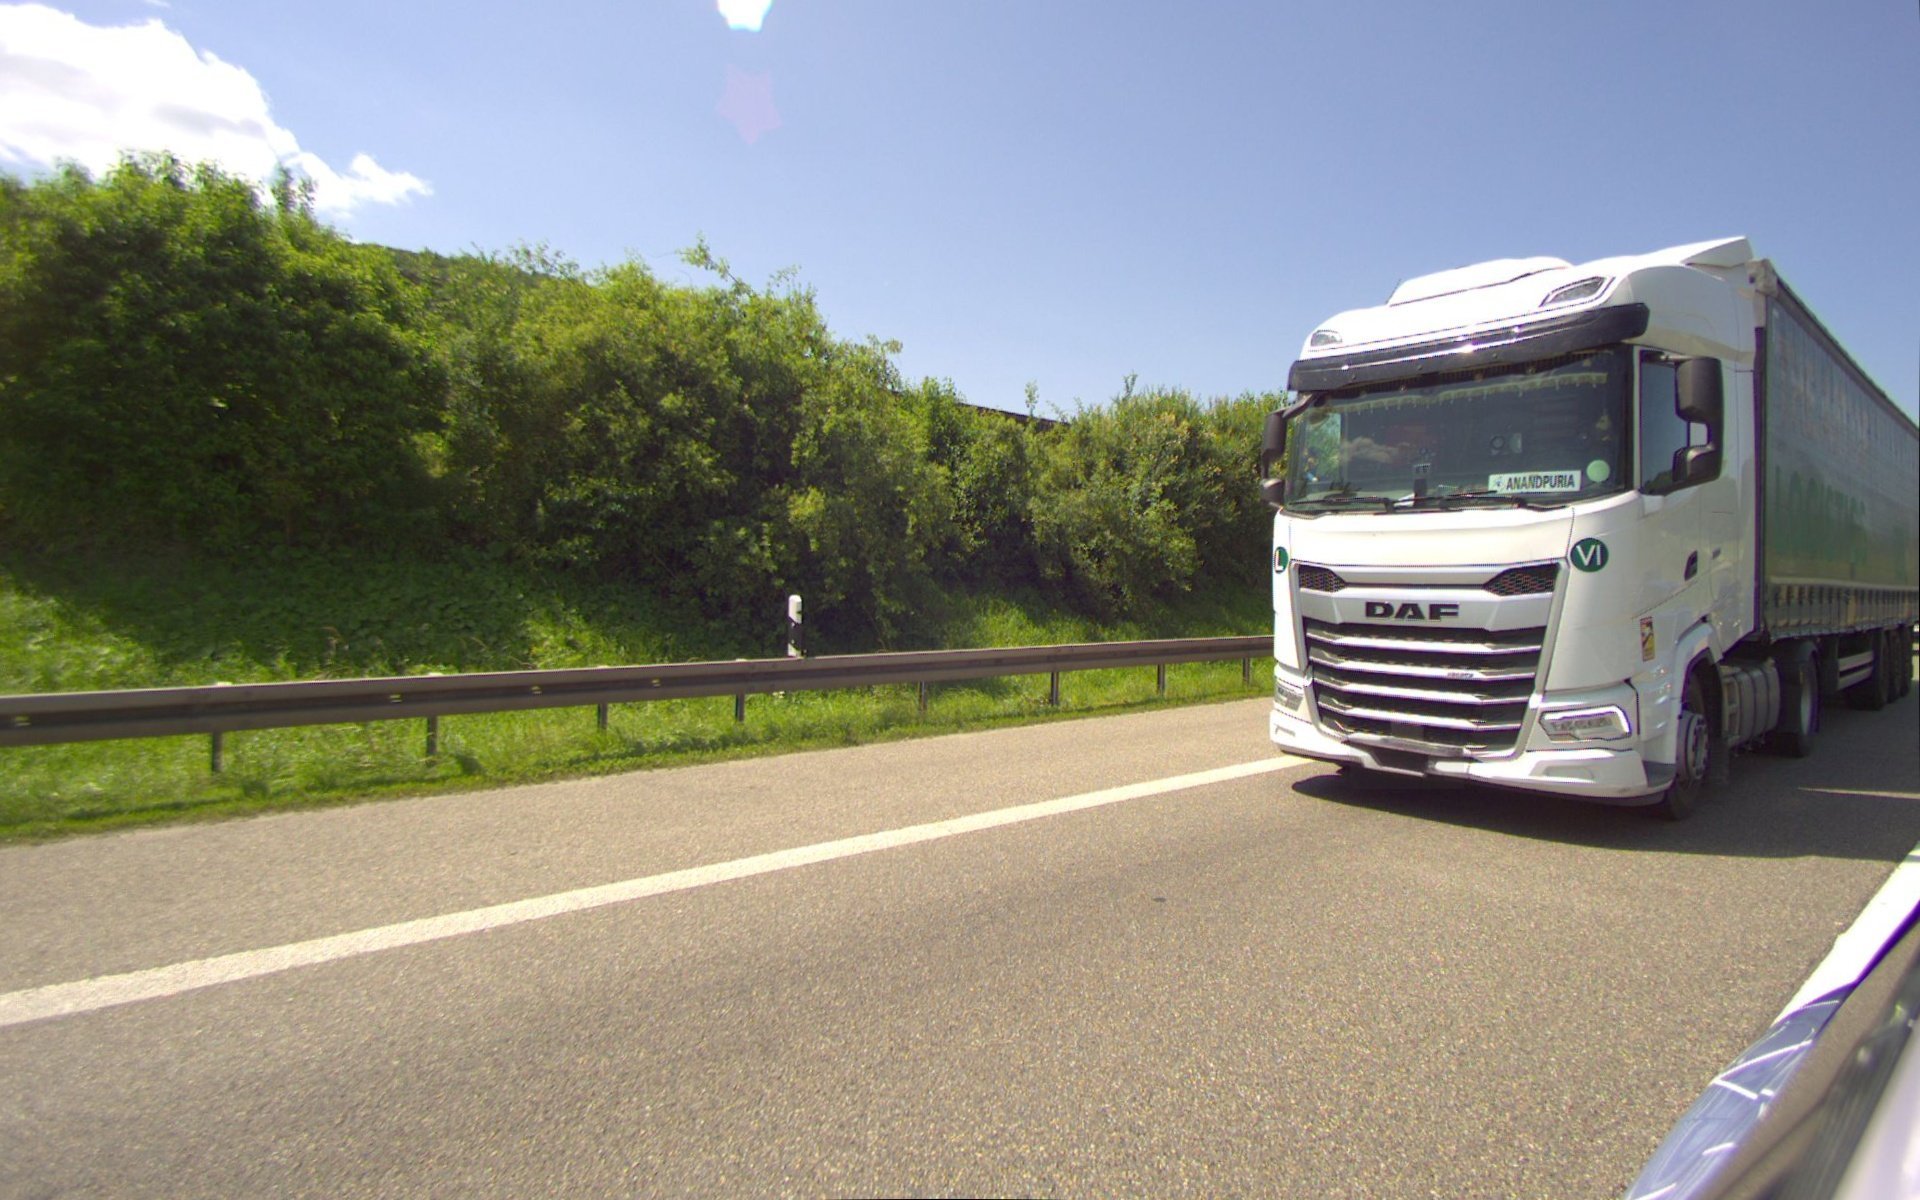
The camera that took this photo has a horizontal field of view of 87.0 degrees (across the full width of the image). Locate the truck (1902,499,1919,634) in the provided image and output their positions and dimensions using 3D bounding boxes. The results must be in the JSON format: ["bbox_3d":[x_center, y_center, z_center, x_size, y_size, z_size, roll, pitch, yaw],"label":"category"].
[{"bbox_3d":[32.150,-1.061,32.348,5.977,4.140,2.528,-1,1,-43],"label":"truck"}]

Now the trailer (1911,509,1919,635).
[{"bbox_3d":[37.245,-1.029,37.072,13.398,4.160,2.540,-1,1,-43],"label":"trailer"}]

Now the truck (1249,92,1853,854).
[{"bbox_3d":[5.239,-0.715,8.385,6.271,4.027,2.482,0,1,-42],"label":"truck"}]

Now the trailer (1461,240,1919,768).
[{"bbox_3d":[10.587,-0.805,13.122,13.419,4.027,2.482,-1,1,-42],"label":"trailer"}]
